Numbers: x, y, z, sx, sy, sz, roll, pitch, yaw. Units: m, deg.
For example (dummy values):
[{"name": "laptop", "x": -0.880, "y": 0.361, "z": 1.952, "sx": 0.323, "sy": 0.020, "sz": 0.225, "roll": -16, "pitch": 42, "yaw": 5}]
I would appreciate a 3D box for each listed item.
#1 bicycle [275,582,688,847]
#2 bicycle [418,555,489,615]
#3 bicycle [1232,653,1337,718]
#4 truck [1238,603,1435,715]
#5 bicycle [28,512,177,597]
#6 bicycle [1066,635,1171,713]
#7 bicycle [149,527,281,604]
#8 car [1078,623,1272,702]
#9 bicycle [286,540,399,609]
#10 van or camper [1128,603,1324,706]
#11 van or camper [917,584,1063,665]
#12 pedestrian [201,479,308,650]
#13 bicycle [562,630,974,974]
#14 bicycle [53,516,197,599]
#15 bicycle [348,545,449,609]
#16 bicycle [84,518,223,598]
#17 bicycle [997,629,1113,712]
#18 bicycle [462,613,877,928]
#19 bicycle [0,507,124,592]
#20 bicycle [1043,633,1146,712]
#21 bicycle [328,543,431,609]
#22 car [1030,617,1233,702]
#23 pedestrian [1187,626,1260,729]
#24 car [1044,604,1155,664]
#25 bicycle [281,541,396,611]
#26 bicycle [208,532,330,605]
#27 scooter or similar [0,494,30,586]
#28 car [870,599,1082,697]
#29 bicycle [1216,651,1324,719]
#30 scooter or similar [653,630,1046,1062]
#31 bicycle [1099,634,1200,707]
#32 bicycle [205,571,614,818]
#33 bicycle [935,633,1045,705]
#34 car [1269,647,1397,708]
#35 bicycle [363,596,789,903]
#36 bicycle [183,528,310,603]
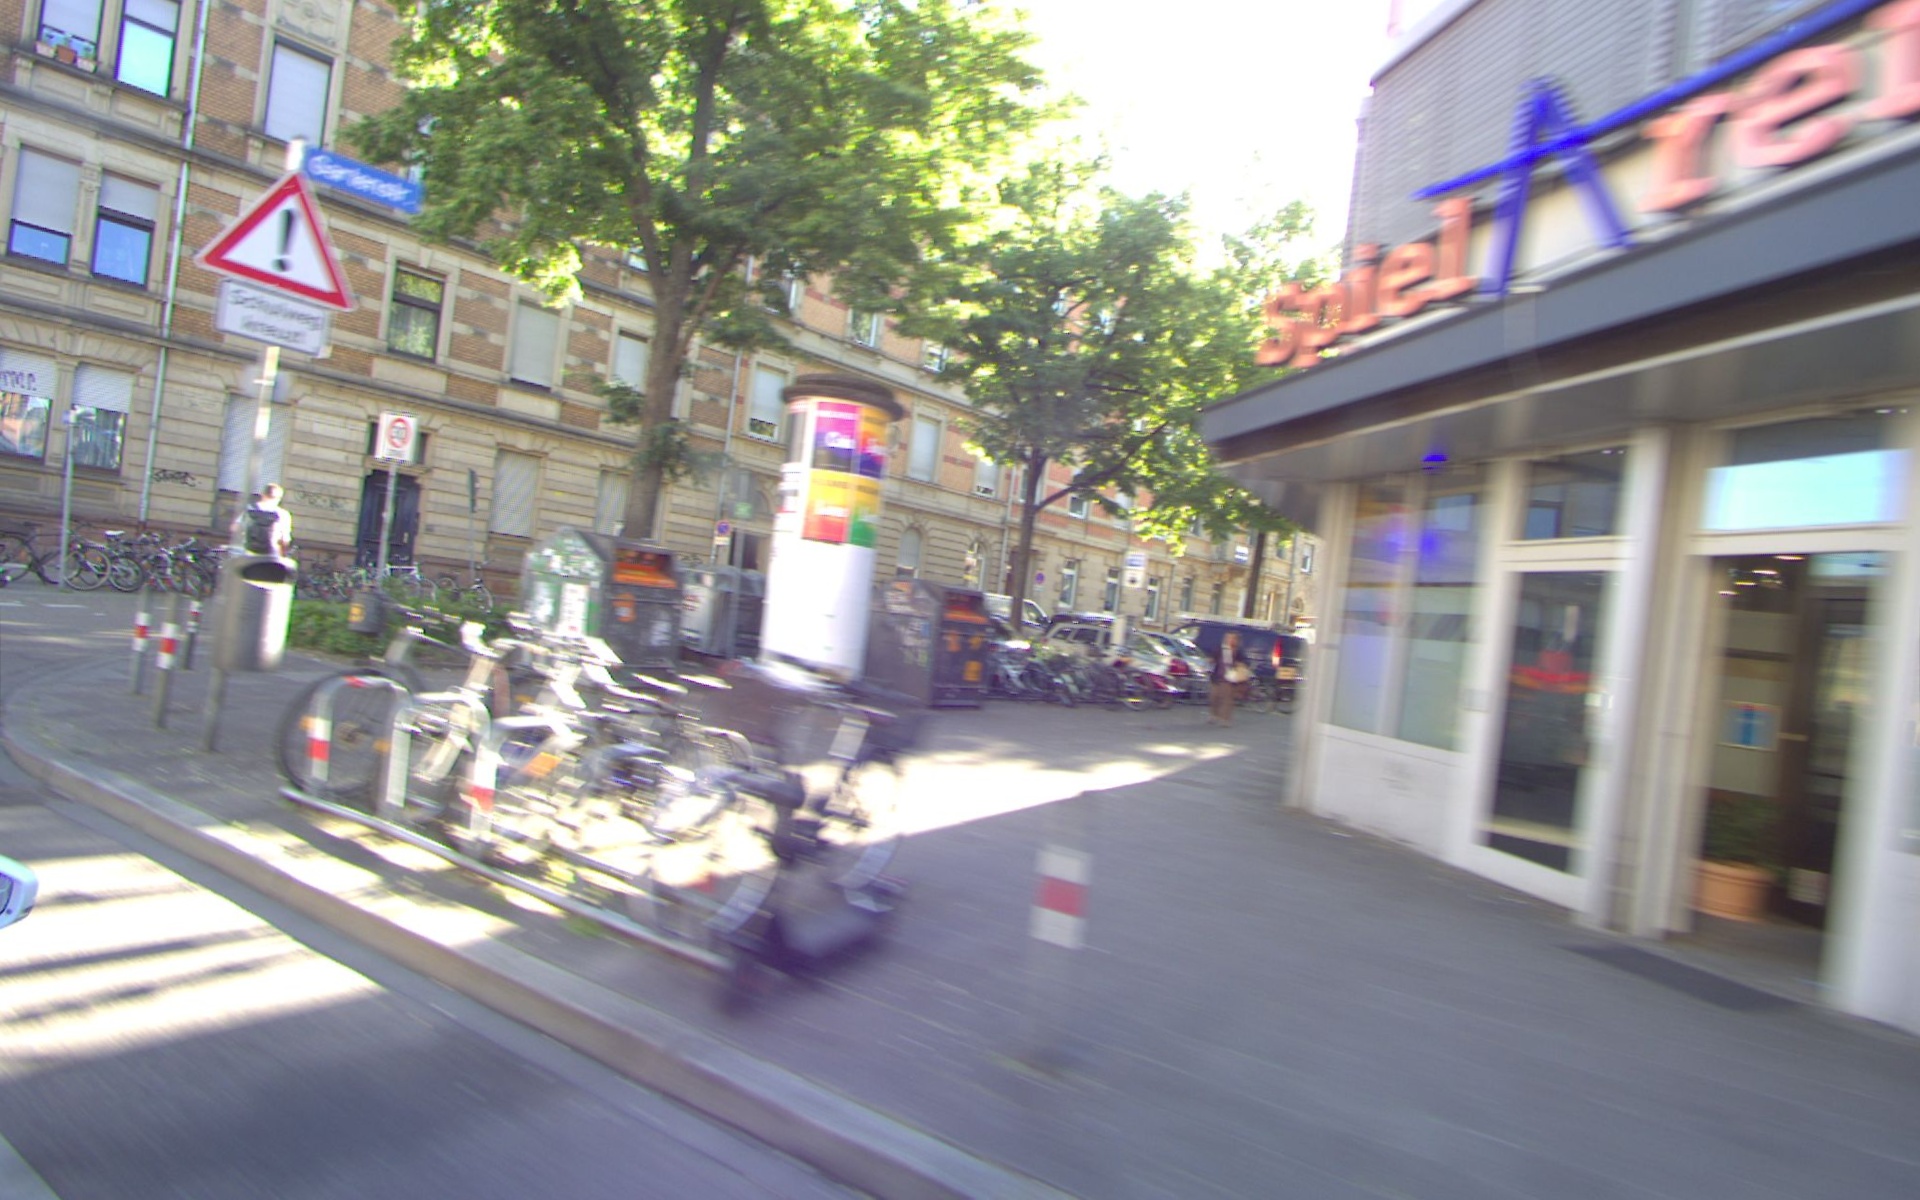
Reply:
[{"name": "bicycle", "x": -2.429, "y": 0.576, "z": 5.415, "sx": 0.554, "sy": 1.120, "sz": 1.949, "roll": 7, "pitch": 0, "yaw": 29}, {"name": "bicycle", "x": -11.328, "y": -0.347, "z": 22.483, "sx": 1.784, "sy": 1.128, "sz": 0.443, "roll": 7, "pitch": 0, "yaw": 32}, {"name": "bicycle", "x": 6.996, "y": 1.838, "z": 21.752, "sx": 1.951, "sy": 1.121, "sz": 0.673, "roll": 7, "pitch": 0, "yaw": 31}, {"name": "truck", "x": 12.410, "y": 1.893, "z": 33.506, "sx": 2.091, "sy": 2.947, "sz": 5.510, "roll": 7, "pitch": 0, "yaw": -43}, {"name": "bicycle", "x": -13.984, "y": -0.721, "z": 16.432, "sx": 1.784, "sy": 1.128, "sz": 0.443, "roll": 8, "pitch": 0, "yaw": -9}, {"name": "bicycle", "x": 2.835, "y": 1.311, "z": 18.099, "sx": 0.697, "sy": 1.152, "sz": 1.674, "roll": 7, "pitch": 0, "yaw": -44}, {"name": "bicycle", "x": -13.320, "y": -0.610, "z": 18.020, "sx": 1.784, "sy": 1.128, "sz": 0.443, "roll": 8, "pitch": 0, "yaw": -10}, {"name": "car", "x": 5.454, "y": 1.582, "z": 25.983, "sx": 1.987, "sy": 1.419, "sz": 4.496, "roll": 8, "pitch": -2, "yaw": -42}, {"name": "bicycle", "x": -12.387, "y": -0.505, "z": 20.207, "sx": 1.784, "sy": 1.128, "sz": 0.443, "roll": 8, "pitch": 0, "yaw": -10}, {"name": "van or camper", "x": 7.202, "y": 1.429, "z": 27.667, "sx": 2.075, "sy": 2.164, "sz": 4.685, "roll": 8, "pitch": -1, "yaw": -39}, {"name": "van or camper", "x": 1.009, "y": 0.798, "z": 31.980, "sx": 4.362, "sy": 2.004, "sz": 1.934, "roll": 8, "pitch": -1, "yaw": -43}, {"name": "pedestrian", "x": -8.901, "y": -0.452, "z": 12.690, "sx": 0.930, "sy": 2.008, "sz": 0.715, "roll": 8, "pitch": 0, "yaw": 43}, {"name": "bicycle", "x": -0.702, "y": 0.769, "z": 4.434, "sx": 0.554, "sy": 1.120, "sz": 1.949, "roll": 7, "pitch": 0, "yaw": 29}, {"name": "bicycle", "x": -14.002, "y": -0.702, "z": 16.904, "sx": 1.784, "sy": 1.128, "sz": 0.443, "roll": 8, "pitch": 0, "yaw": -10}, {"name": "bicycle", "x": -12.090, "y": -0.491, "z": 21.679, "sx": 1.781, "sy": 1.128, "sz": 0.444, "roll": 7, "pitch": 0, "yaw": -1}, {"name": "bicycle", "x": -13.925, "y": -0.715, "z": 17.408, "sx": 1.784, "sy": 1.128, "sz": 0.443, "roll": 8, "pitch": 0, "yaw": -10}, {"name": "bicycle", "x": 1.607, "y": 1.196, "z": 17.373, "sx": 0.648, "sy": 1.152, "sz": 1.979, "roll": 7, "pitch": 0, "yaw": -40}, {"name": "bicycle", "x": -1.222, "y": 0.712, "z": 4.736, "sx": 0.554, "sy": 1.120, "sz": 1.949, "roll": 7, "pitch": 0, "yaw": 29}, {"name": "bicycle", "x": -14.395, "y": -0.802, "z": 15.870, "sx": 1.784, "sy": 1.128, "sz": 0.443, "roll": 8, "pitch": 0, "yaw": -9}, {"name": "bicycle", "x": 2.345, "y": 1.256, "z": 17.647, "sx": 0.594, "sy": 1.152, "sz": 1.674, "roll": 7, "pitch": 0, "yaw": -43}, {"name": "bicycle", "x": -12.194, "y": -0.499, "z": 21.145, "sx": 1.781, "sy": 1.128, "sz": 0.444, "roll": 7, "pitch": 0, "yaw": -1}, {"name": "car", "x": 3.975, "y": 1.377, "z": 23.906, "sx": 1.915, "sy": 1.419, "sz": 4.410, "roll": 8, "pitch": -2, "yaw": -42}, {"name": "pedestrian", "x": 4.411, "y": 1.294, "z": 16.849, "sx": 0.820, "sy": 1.592, "sz": 0.686, "roll": 7, "pitch": 0, "yaw": 36}, {"name": "car", "x": 5.114, "y": 1.256, "z": 36.570, "sx": 1.808, "sy": 1.722, "sz": 3.988, "roll": 5, "pitch": -2, "yaw": 45}, {"name": "bicycle", "x": -12.186, "y": -0.465, "z": 19.764, "sx": 1.784, "sy": 1.128, "sz": 0.443, "roll": 8, "pitch": 0, "yaw": -10}, {"name": "bicycle", "x": -13.091, "y": -0.589, "z": 19.097, "sx": 1.784, "sy": 1.128, "sz": 0.443, "roll": 8, "pitch": 0, "yaw": -10}, {"name": "scooter or similar", "x": -14.475, "y": -0.954, "z": 14.762, "sx": 1.493, "sy": 1.305, "sz": 0.392, "roll": 7, "pitch": 1, "yaw": 15}, {"name": "car", "x": 0.248, "y": 0.932, "z": 20.272, "sx": 1.988, "sy": 1.413, "sz": 3.951, "roll": 8, "pitch": -1, "yaw": -43}, {"name": "bicycle", "x": 6.500, "y": 1.767, "z": 21.109, "sx": 1.951, "sy": 1.121, "sz": 0.647, "roll": 7, "pitch": 0, "yaw": 31}, {"name": "scooter or similar", "x": -0.327, "y": 0.786, "z": 3.803, "sx": 0.582, "sy": 1.245, "sz": 1.480, "roll": 7, "pitch": 1, "yaw": 31}, {"name": "bicycle", "x": 3.630, "y": 1.350, "z": 19.310, "sx": 1.669, "sy": 1.152, "sz": 0.675, "roll": 7, "pitch": 0, "yaw": 38}, {"name": "bicycle", "x": -2.986, "y": 0.512, "z": 5.718, "sx": 0.554, "sy": 1.120, "sz": 1.949, "roll": 7, "pitch": 0, "yaw": 29}, {"name": "bicycle", "x": 0.495, "y": 1.173, "z": 17.416, "sx": 0.649, "sy": 0.959, "sz": 1.979, "roll": 7, "pitch": 0, "yaw": -40}, {"name": "car", "x": 11.274, "y": 2.333, "z": 30.493, "sx": 3.170, "sy": 1.344, "sz": 1.618, "roll": 7, "pitch": -1, "yaw": 40}, {"name": "bicycle", "x": -1.781, "y": 0.676, "z": 5.054, "sx": 0.617, "sy": 1.180, "sz": 1.949, "roll": 7, "pitch": 0, "yaw": 29}, {"name": "bicycle", "x": -13.140, "y": -0.621, "z": 18.562, "sx": 1.784, "sy": 1.128, "sz": 0.443, "roll": 8, "pitch": 0, "yaw": -10}]
